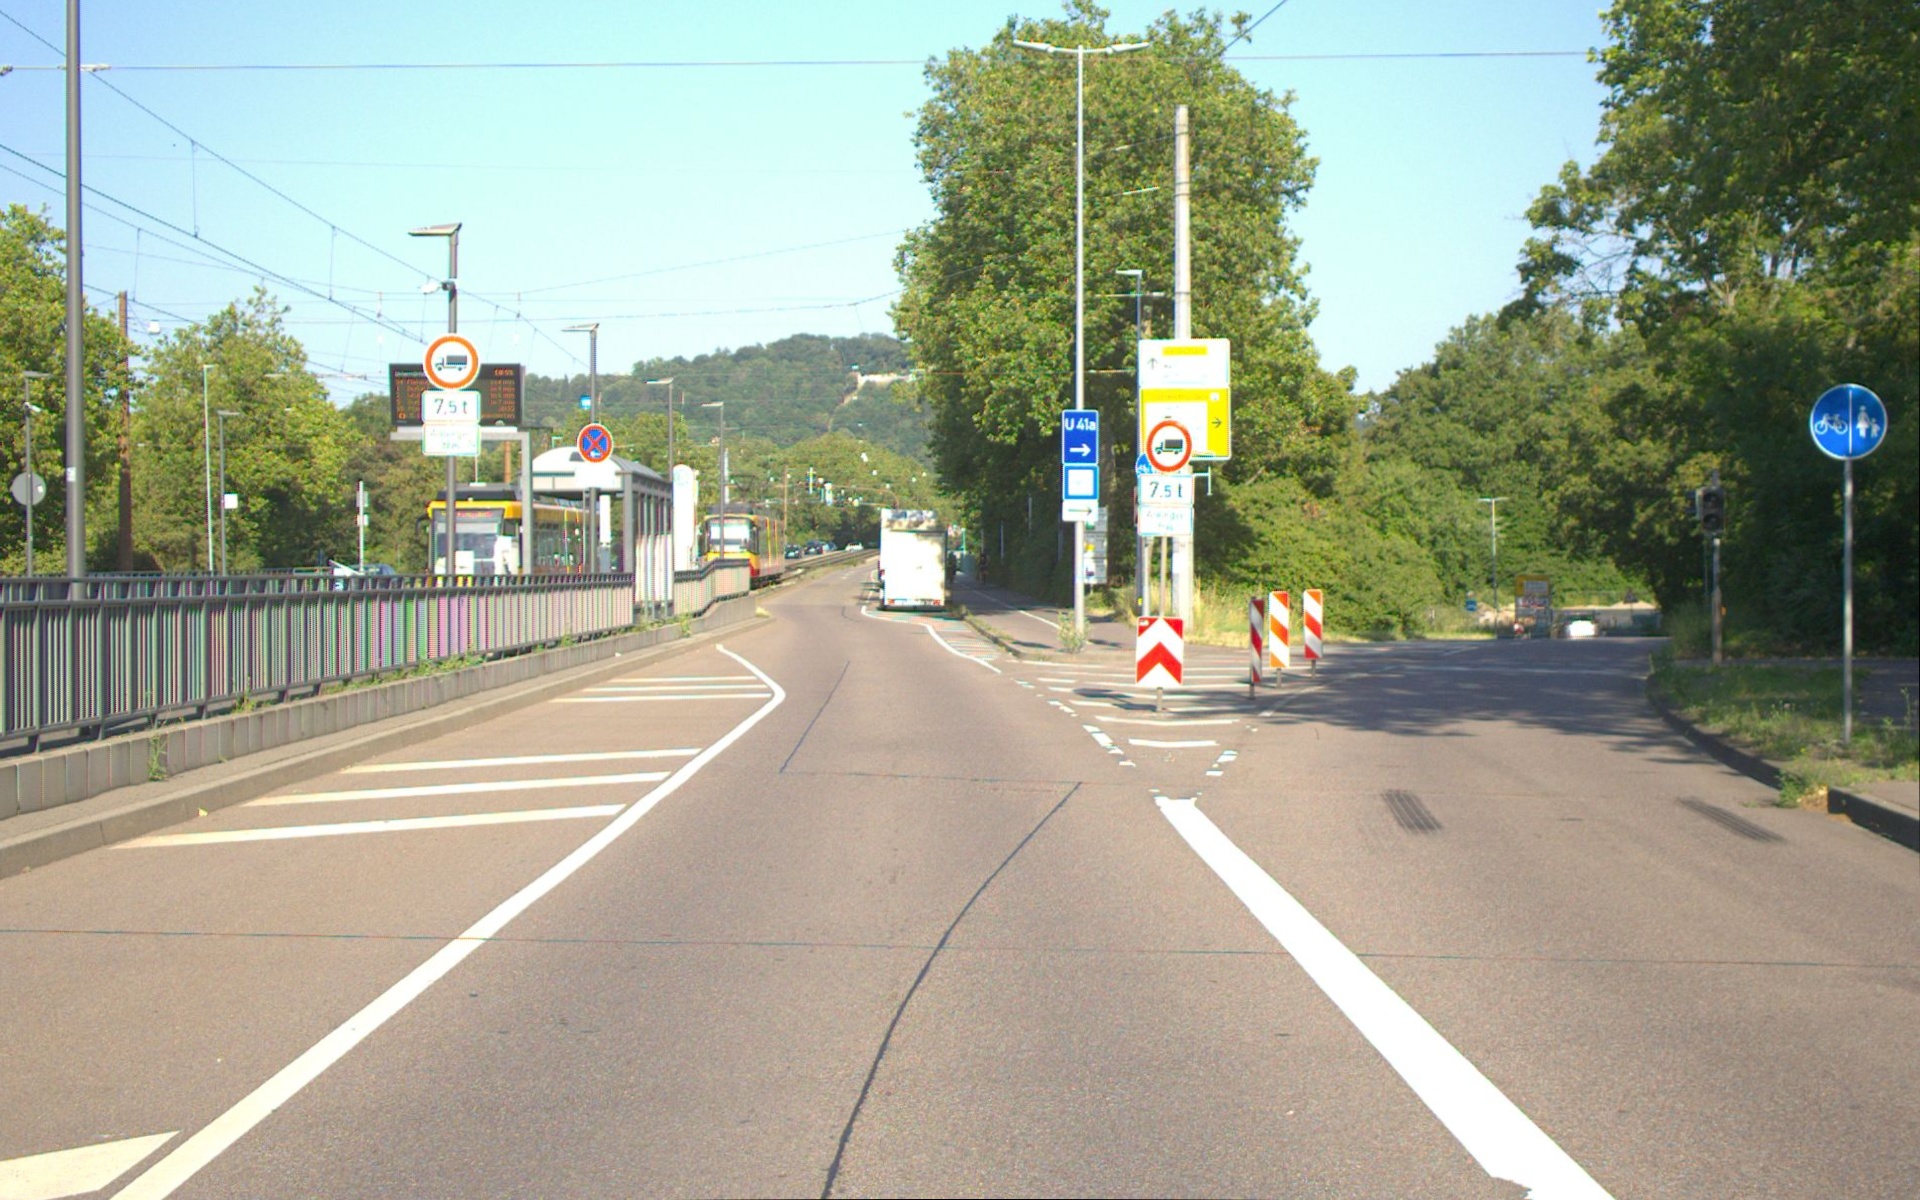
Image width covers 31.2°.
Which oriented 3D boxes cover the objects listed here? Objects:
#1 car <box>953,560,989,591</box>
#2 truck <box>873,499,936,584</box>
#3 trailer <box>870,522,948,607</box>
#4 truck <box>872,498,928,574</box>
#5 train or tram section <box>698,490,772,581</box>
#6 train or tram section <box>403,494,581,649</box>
[{"bbox_3d":[0.517,-1.157,159.888,1.653,1.432,3.777,0,1,0],"label":"car"},{"bbox_3d":[-2.646,-2.738,161.585,2.742,3.770,10.090,2,1,-1],"label":"truck"},{"bbox_3d":[-1.655,-1.186,113.653,2.251,2.685,5.947,1,1,2],"label":"trailer"},{"bbox_3d":[-3.154,-3.351,179.381,2.717,3.770,9.762,2,1,-1],"label":"truck"},{"bbox_3d":[-10.525,-3.047,162.110,2.721,4.077,13.616,-1,1,-1],"label":"train or tram section"},{"bbox_3d":[-13.076,-0.834,97.550,2.827,3.992,15.875,1,1,0],"label":"train or tram section"}]
